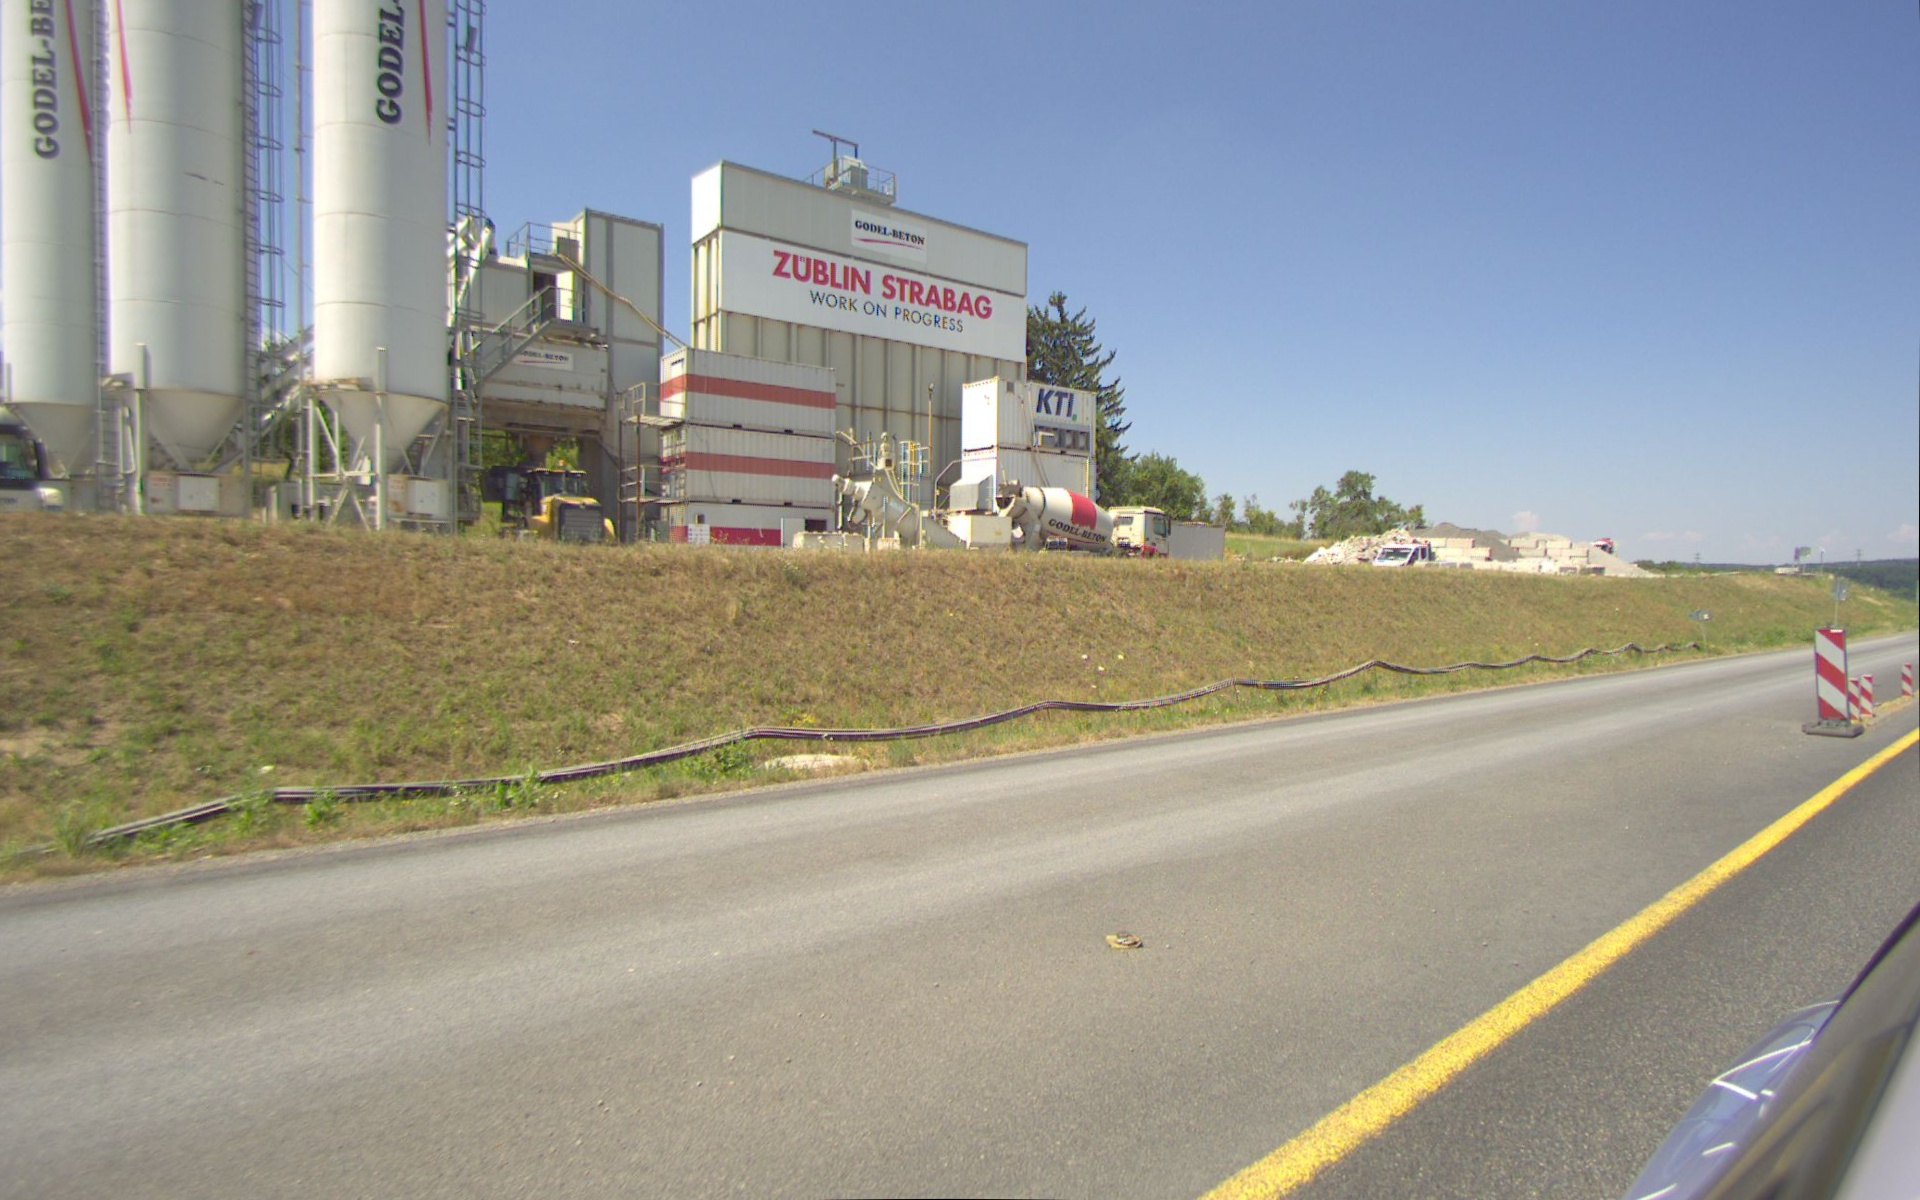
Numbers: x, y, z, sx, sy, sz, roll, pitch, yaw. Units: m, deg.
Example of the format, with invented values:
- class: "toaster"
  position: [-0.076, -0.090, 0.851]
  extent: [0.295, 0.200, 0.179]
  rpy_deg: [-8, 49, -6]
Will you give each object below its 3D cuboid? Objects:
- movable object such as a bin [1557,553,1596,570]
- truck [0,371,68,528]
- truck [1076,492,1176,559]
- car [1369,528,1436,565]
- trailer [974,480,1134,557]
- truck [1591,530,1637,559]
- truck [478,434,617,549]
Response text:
- class: "movable object such as a bin"
  position: [27.271, -1.699, 44.731]
  extent: [2.210, 0.690, 0.837]
  rpy_deg: [-1, 0, -41]
- class: "truck"
  position: [-18.976, -2.600, 17.480]
  extent: [5.228, 2.576, 2.893]
  rpy_deg: [0, 0, 13]
- class: "truck"
  position: [7.070, -3.098, 42.890]
  extent: [3.967, 2.577, 2.022]
  rpy_deg: [-1, 0, -38]
- class: "car"
  position: [23.840, -2.840, 54.438]
  extent: [3.539, 1.785, 1.989]
  rpy_deg: [-1, 0, -41]
- class: "trailer"
  position: [3.861, -3.149, 40.390]
  extent: [6.809, 2.678, 1.999]
  rpy_deg: [-1, 0, -38]
- class: "truck"
  position: [71.598, -6.027, 110.734]
  extent: [8.915, 2.855, 2.218]
  rpy_deg: [-1, 0, -44]
- class: "truck"
  position: [-13.889, -3.357, 33.582]
  extent: [2.412, 2.904, 9.102]
  rpy_deg: [0, 0, -34]
